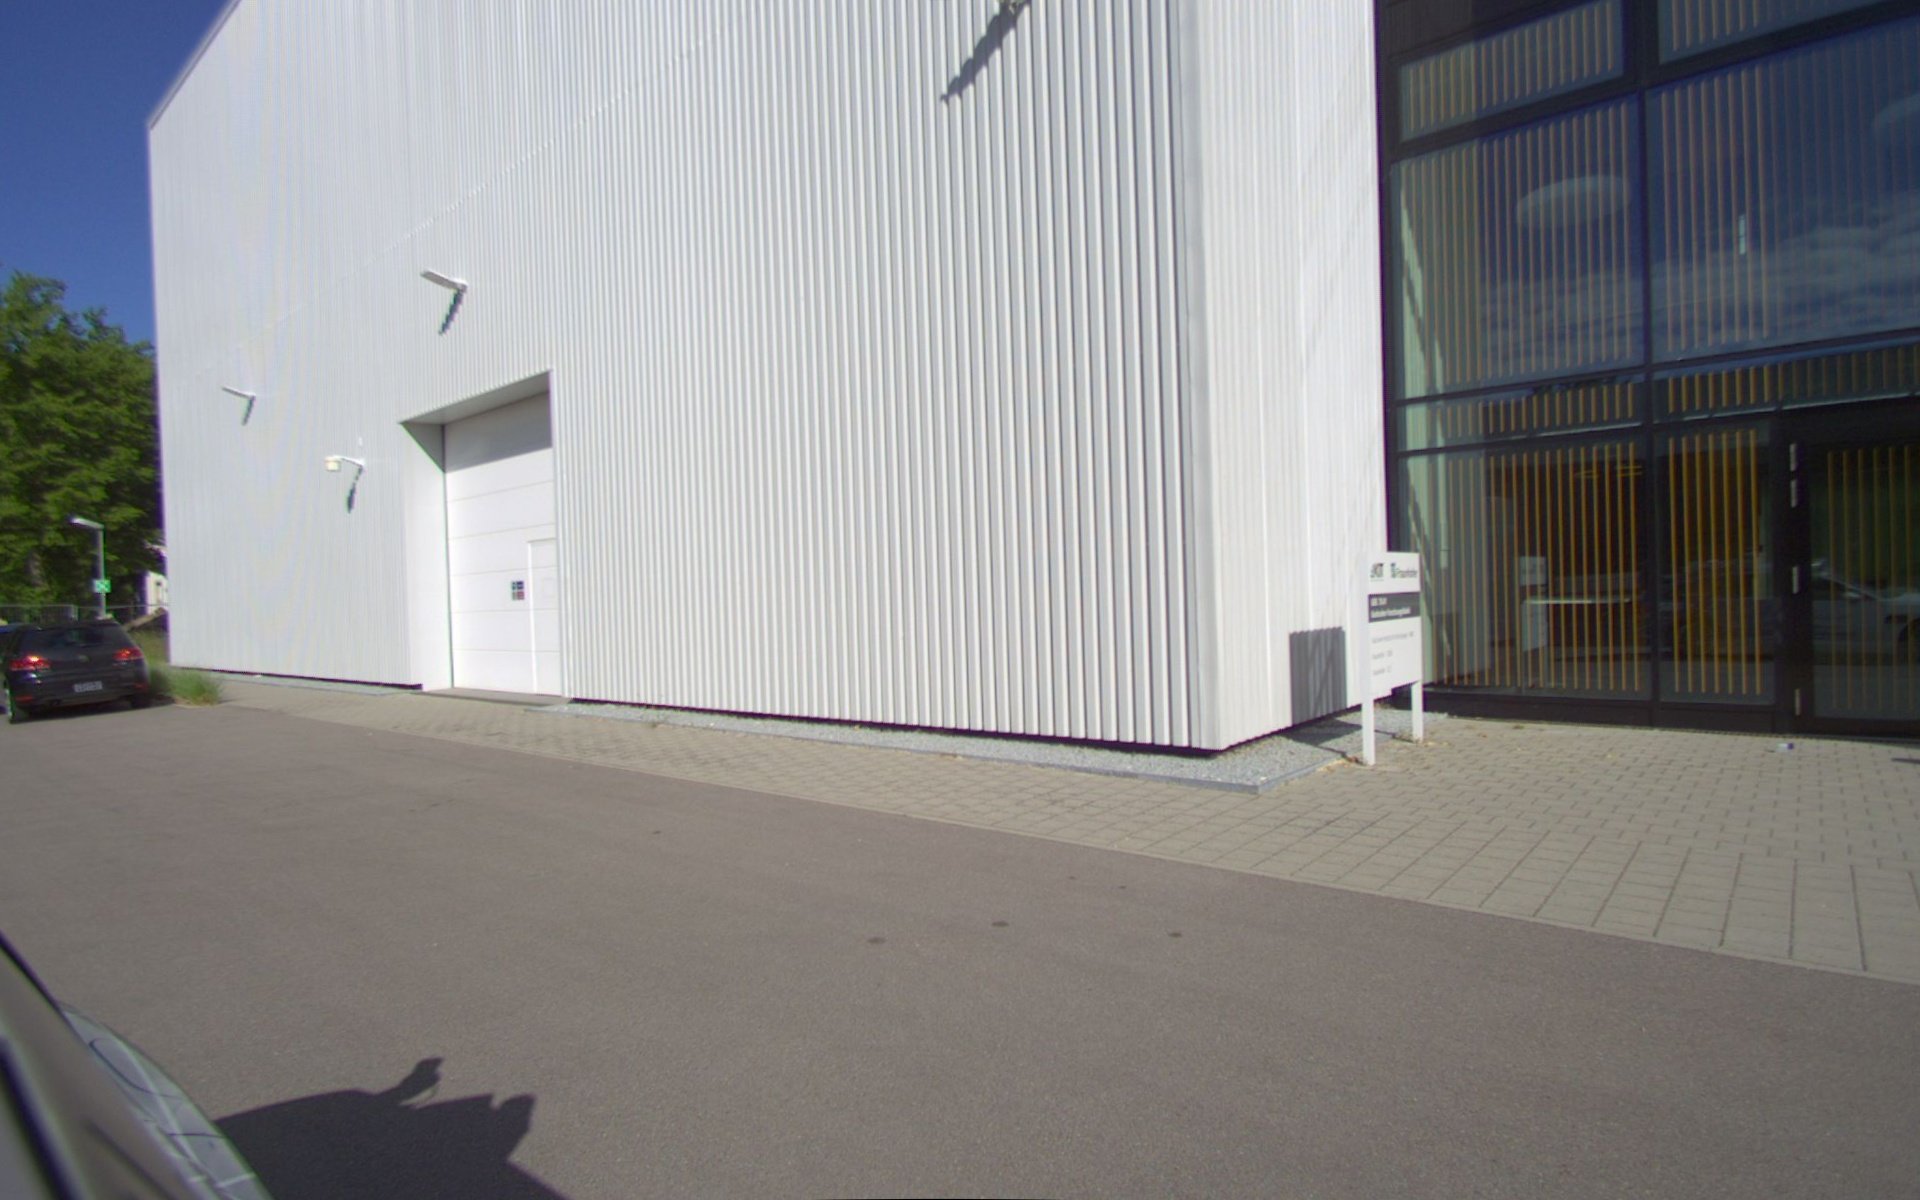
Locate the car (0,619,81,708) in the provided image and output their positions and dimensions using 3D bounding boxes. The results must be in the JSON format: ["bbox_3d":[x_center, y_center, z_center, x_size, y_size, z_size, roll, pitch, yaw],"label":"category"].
[{"bbox_3d":[-18.297,1.210,19.415,3.518,1.499,1.533,-3,1,39],"label":"car"}]

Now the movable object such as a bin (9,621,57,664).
[{"bbox_3d":[-32.518,1.481,35.497,1.288,1.445,1.126,-2,-2,41],"label":"movable object such as a bin"}]

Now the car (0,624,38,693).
[{"bbox_3d":[-22.486,1.368,22.986,3.794,1.459,1.695,-3,1,39],"label":"car"}]

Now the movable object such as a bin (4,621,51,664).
[{"bbox_3d":[-33.535,1.519,36.404,1.279,1.489,1.126,-3,-2,41],"label":"movable object such as a bin"}]

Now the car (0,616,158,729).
[{"bbox_3d":[-14.632,1.105,16.408,4.312,1.456,1.738,-2,2,41],"label":"car"}]
